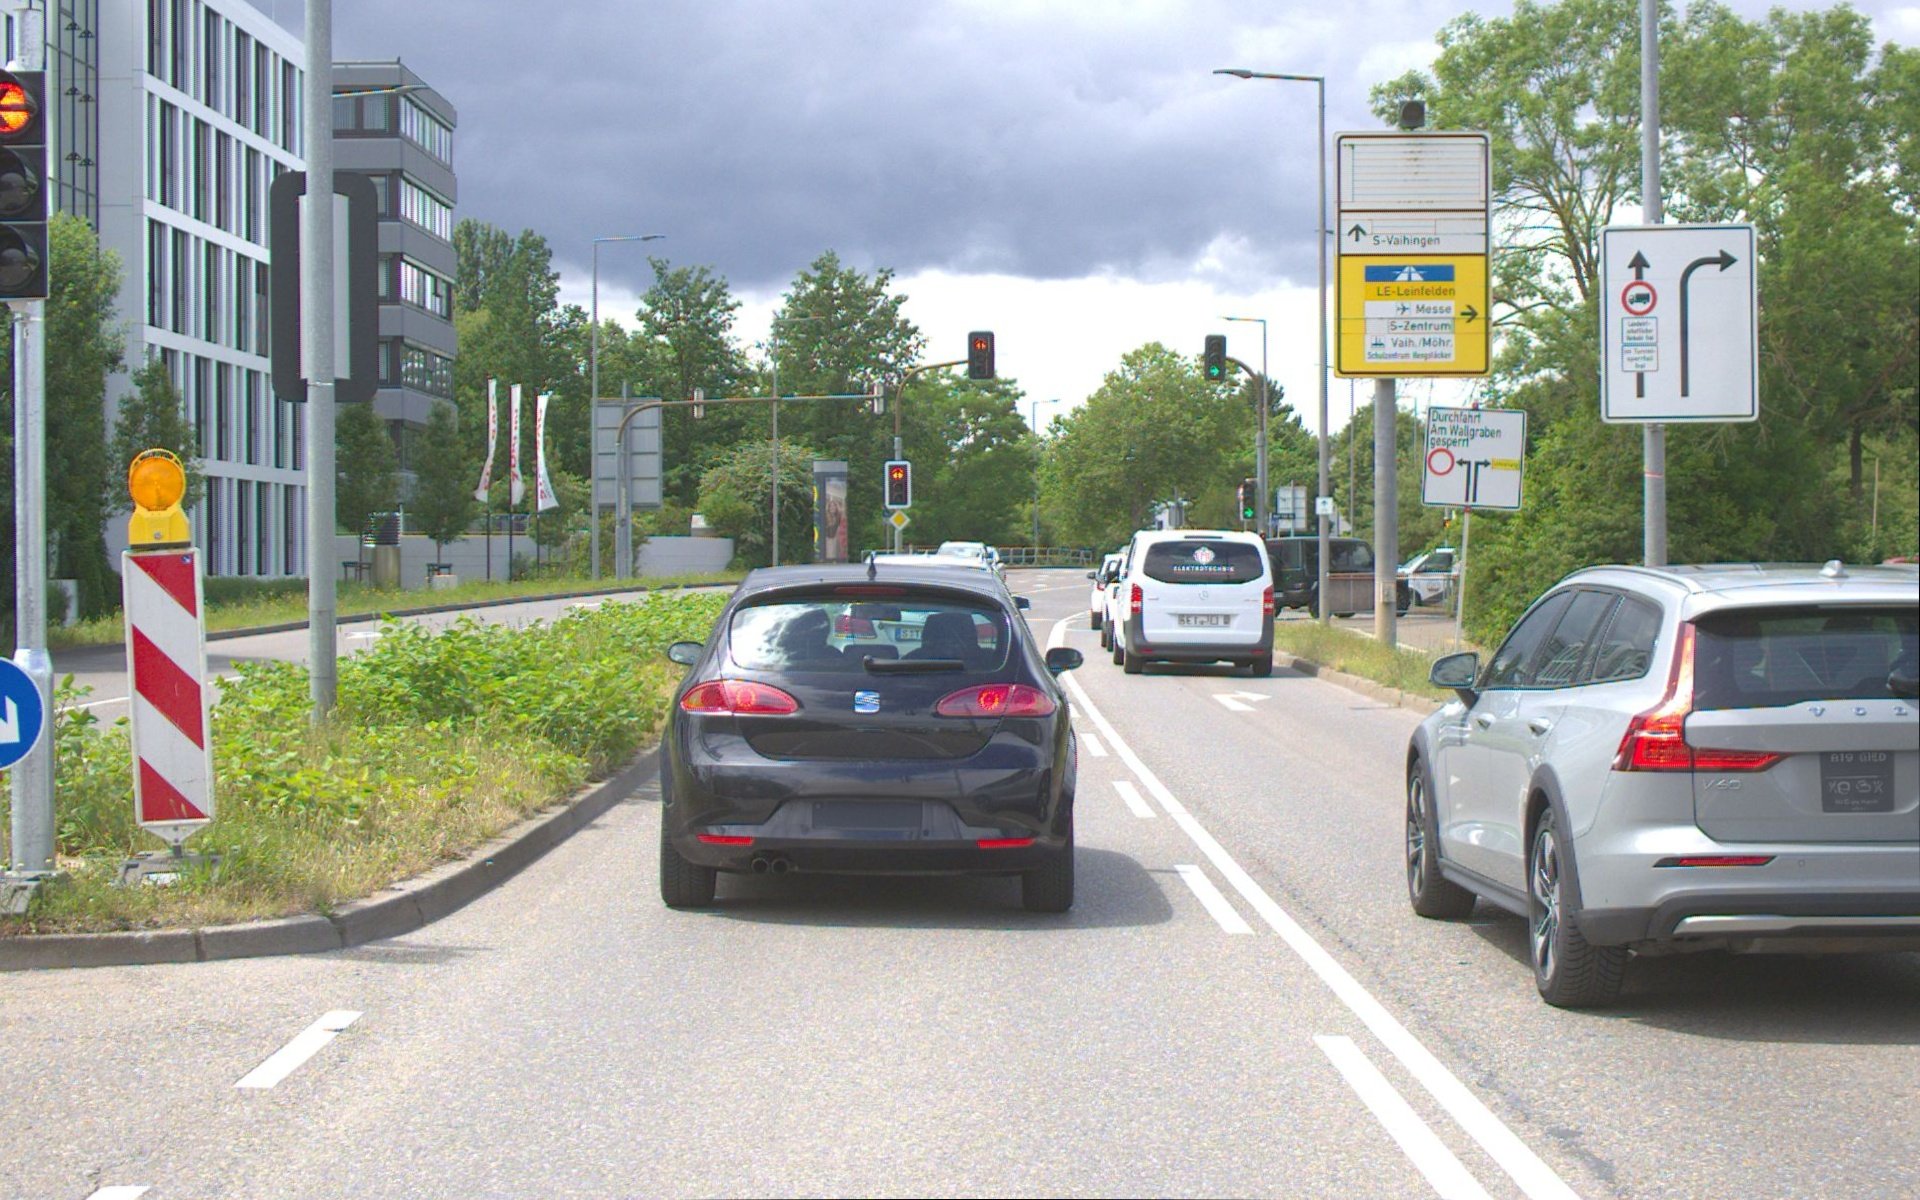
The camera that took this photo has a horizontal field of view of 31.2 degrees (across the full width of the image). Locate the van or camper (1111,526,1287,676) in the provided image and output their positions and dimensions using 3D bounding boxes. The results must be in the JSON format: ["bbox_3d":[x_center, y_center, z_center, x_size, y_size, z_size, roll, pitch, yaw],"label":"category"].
[{"bbox_3d":[3.077,-0.022,45.202,1.993,1.853,4.944,0,1,0],"label":"van or camper"}]

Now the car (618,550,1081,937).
[{"bbox_3d":[-0.373,0.533,15.211,1.773,1.447,3.582,2,1,2],"label":"car"}]

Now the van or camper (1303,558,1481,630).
[{"bbox_3d":[12.293,-0.180,98.111,4.800,2.007,2.000,0,1,-1],"label":"van or camper"}]

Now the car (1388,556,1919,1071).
[{"bbox_3d":[2.808,0.610,12.508,1.863,1.513,4.447,0,1,-1],"label":"car"}]

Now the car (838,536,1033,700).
[{"bbox_3d":[-0.226,0.131,33.040,1.773,1.486,3.582,0,1,0],"label":"car"}]

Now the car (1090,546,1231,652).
[{"bbox_3d":[3.175,-0.047,55.170,1.993,1.626,4.000,0,1,0],"label":"car"}]
